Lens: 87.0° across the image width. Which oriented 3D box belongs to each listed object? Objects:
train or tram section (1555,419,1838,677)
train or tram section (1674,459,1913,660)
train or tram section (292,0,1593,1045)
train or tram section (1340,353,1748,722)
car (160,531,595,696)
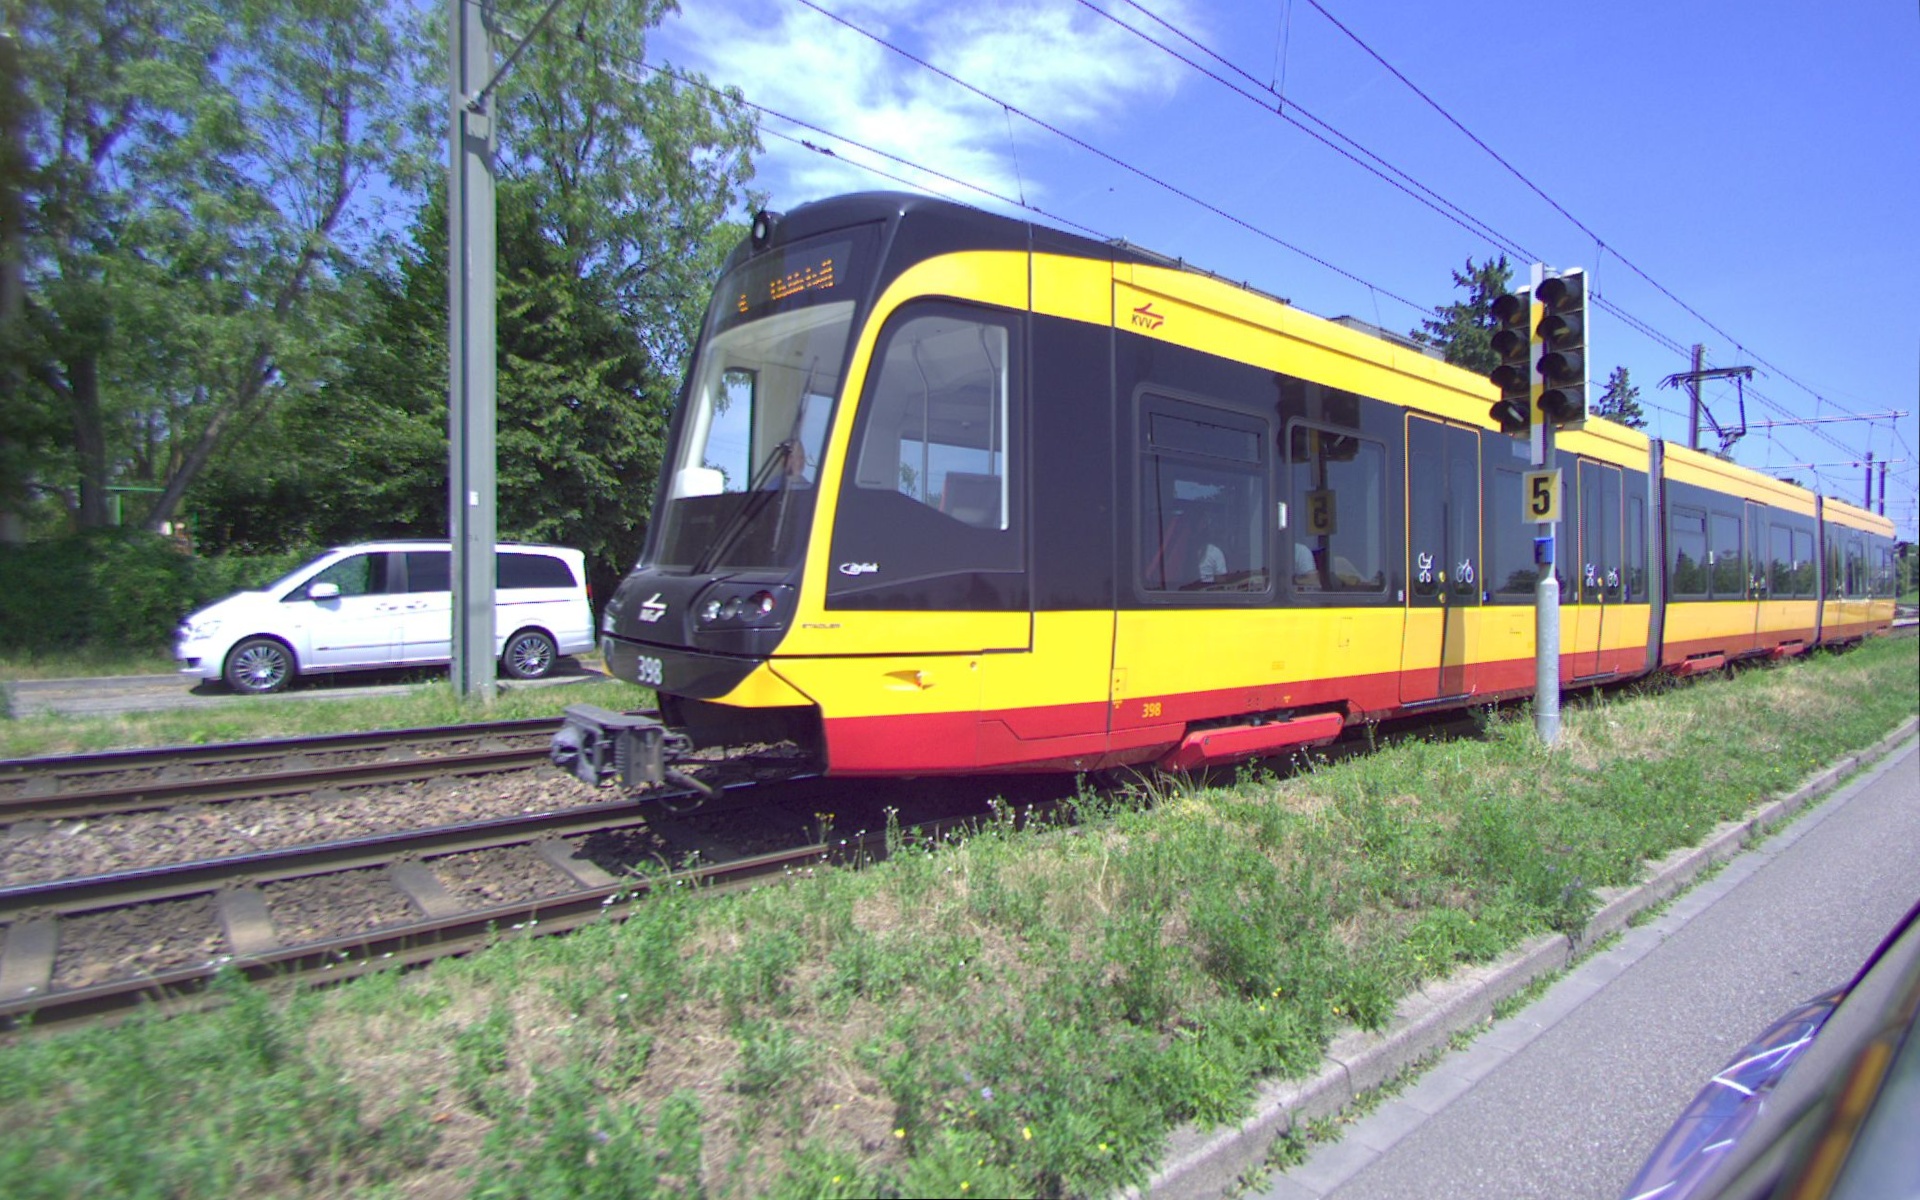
[{"bbox_3d":[13.189,-0.869,17.910,6.612,3.759,2.566,-2,3,-41],"label":"train or tram section"},{"bbox_3d":[19.980,-0.934,23.855,11.358,3.812,2.434,-2,3,-41],"label":"train or tram section"},{"bbox_3d":[1.487,-0.568,7.962,10.992,3.734,2.771,-2,3,-41],"label":"train or tram section"},{"bbox_3d":[8.100,-0.760,13.659,6.612,3.812,2.707,-2,3,-41],"label":"train or tram section"},{"bbox_3d":[-7.846,0.064,13.970,4.927,1.898,1.997,-2,3,-41],"label":"car"}]
